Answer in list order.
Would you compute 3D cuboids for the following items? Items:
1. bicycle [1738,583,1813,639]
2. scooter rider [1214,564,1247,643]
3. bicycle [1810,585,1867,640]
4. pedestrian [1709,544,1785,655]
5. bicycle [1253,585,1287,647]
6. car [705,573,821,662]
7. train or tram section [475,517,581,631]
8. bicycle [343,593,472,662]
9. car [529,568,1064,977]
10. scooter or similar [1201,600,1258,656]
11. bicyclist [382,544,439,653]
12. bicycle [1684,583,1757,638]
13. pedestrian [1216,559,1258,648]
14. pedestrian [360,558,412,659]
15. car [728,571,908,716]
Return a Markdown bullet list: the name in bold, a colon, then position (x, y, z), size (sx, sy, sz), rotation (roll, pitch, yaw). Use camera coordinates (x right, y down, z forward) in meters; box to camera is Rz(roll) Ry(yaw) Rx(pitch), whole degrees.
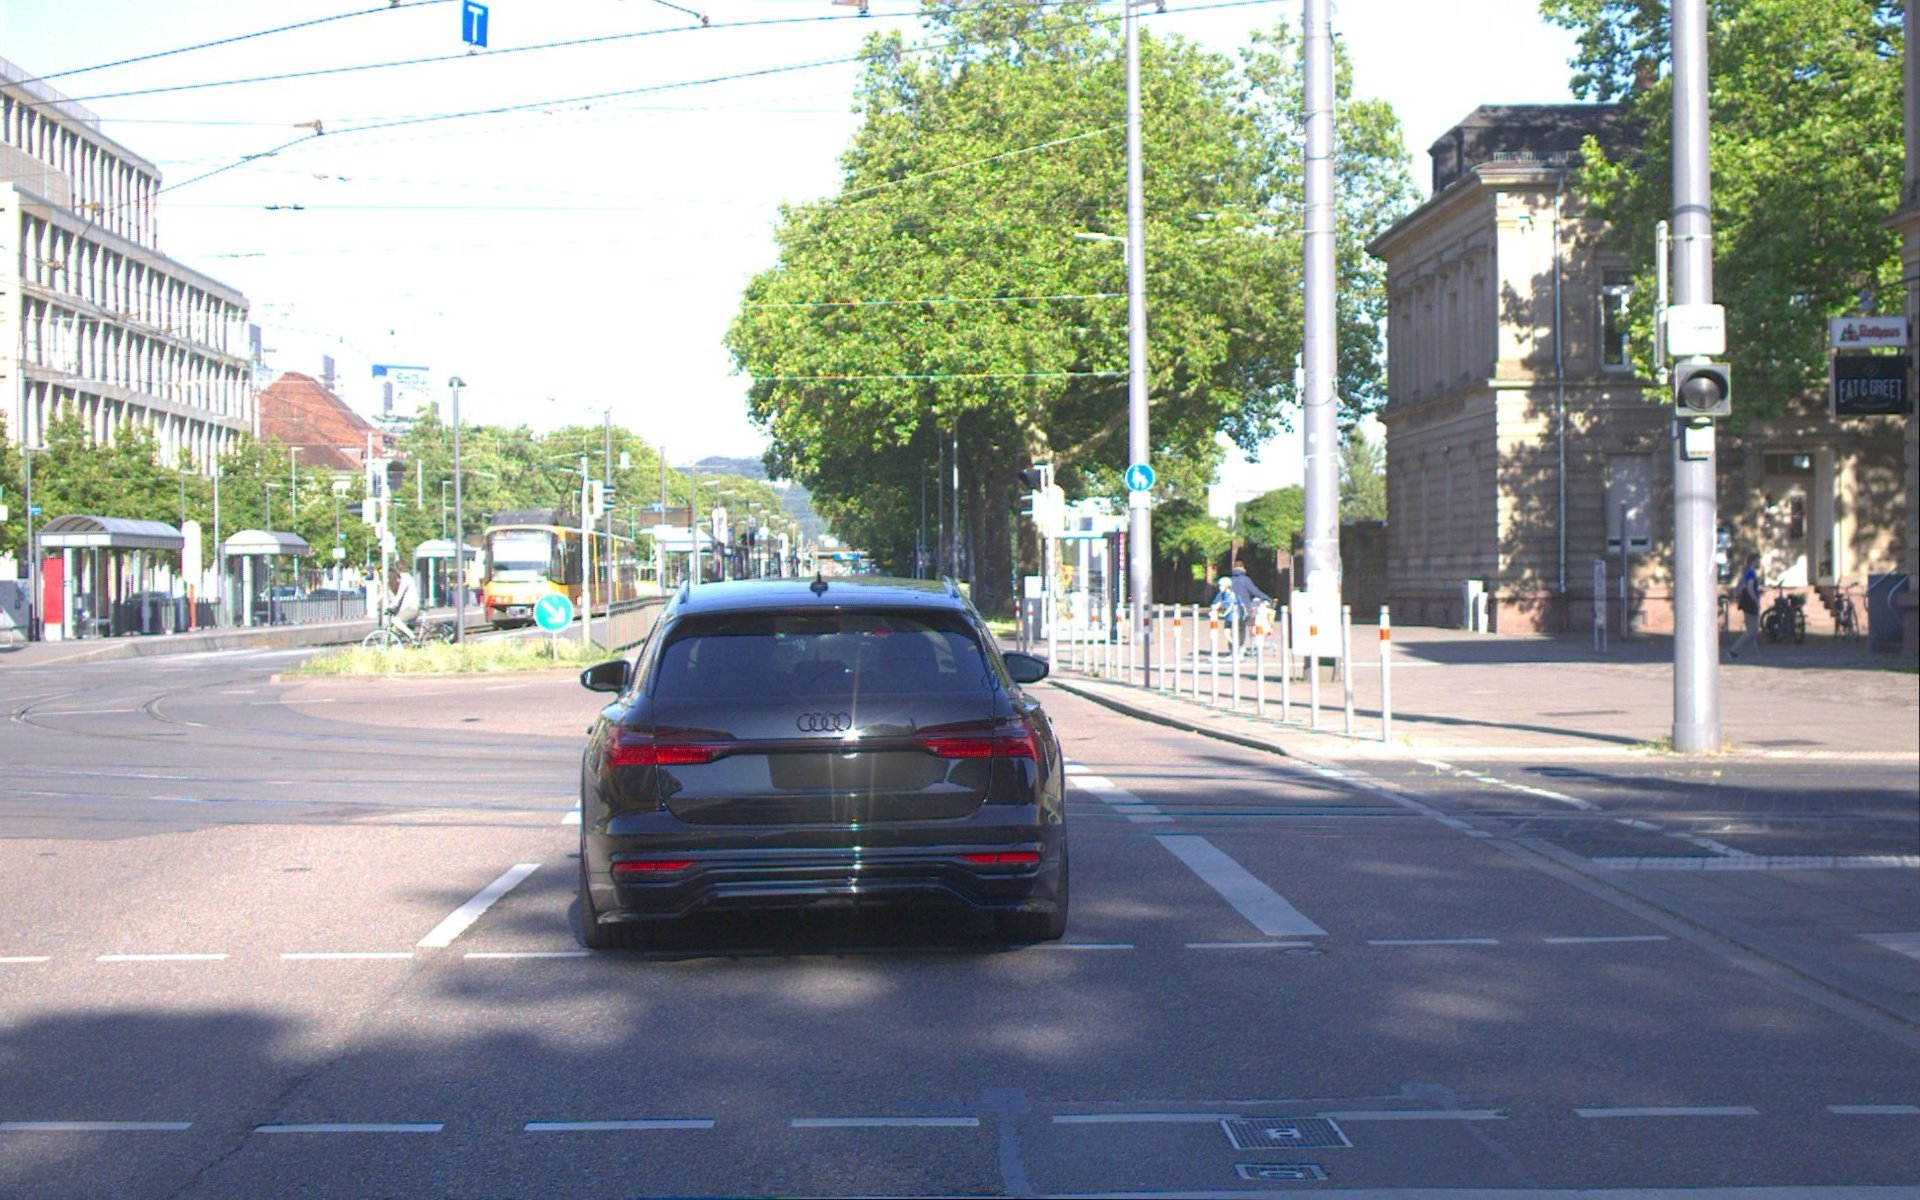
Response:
- **bicycle**: position (15.870, 0.207, 66.942), size (0.526, 1.043, 2.360), rotation (-1, 1, -10)
- **scooter rider**: position (4.782, 0.069, 60.746), size (0.484, 1.381, 0.377), rotation (-2, -1, -3)
- **bicycle**: position (17.243, 0.235, 67.502), size (0.526, 1.043, 2.231), rotation (-1, 1, 0)
- **pedestrian**: position (13.344, -0.011, 58.307), size (0.979, 1.859, 0.827), rotation (-1, 0, -12)
- **bicycle**: position (5.819, 0.290, 64.497), size (0.434, 1.141, 1.340), rotation (-1, 1, -3)
- **car**: position (-3.480, 0.280, 61.339), size (1.902, 1.481, 4.145), rotation (0, 1, -1)
- **train or tram section**: position (-13.789, -0.850, 110.397), size (2.608, 3.439, 11.133), rotation (-1, 1, -3)
- **bicycle**: position (-9.318, 0.455, 57.984), size (2.005, 1.104, 0.765), rotation (-1, 1, -24)
- **car**: position (-0.628, 0.596, 14.385), size (1.902, 1.417, 4.145), rotation (0, 1, -1)
- **scooter or similar**: position (4.762, 0.490, 60.734), size (0.938, 0.963, 0.361), rotation (-2, -1, -3)
- **bicyclist**: position (-9.284, -0.028, 58.034), size (0.756, 1.812, 0.765), rotation (-1, 1, -24)
- **bicycle**: position (14.804, 0.190, 66.940), size (0.526, 1.043, 2.360), rotation (-1, 1, -10)
- **pedestrian**: position (5.195, 0.065, 64.457), size (0.682, 1.655, 0.758), rotation (-1, 0, -3)
- **pedestrian**: position (-9.942, 0.138, 59.553), size (0.739, 1.735, 0.664), rotation (-1, 0, -21)
- **car**: position (-1.547, 0.443, 38.567), size (1.902, 1.481, 4.145), rotation (0, 1, -1)
